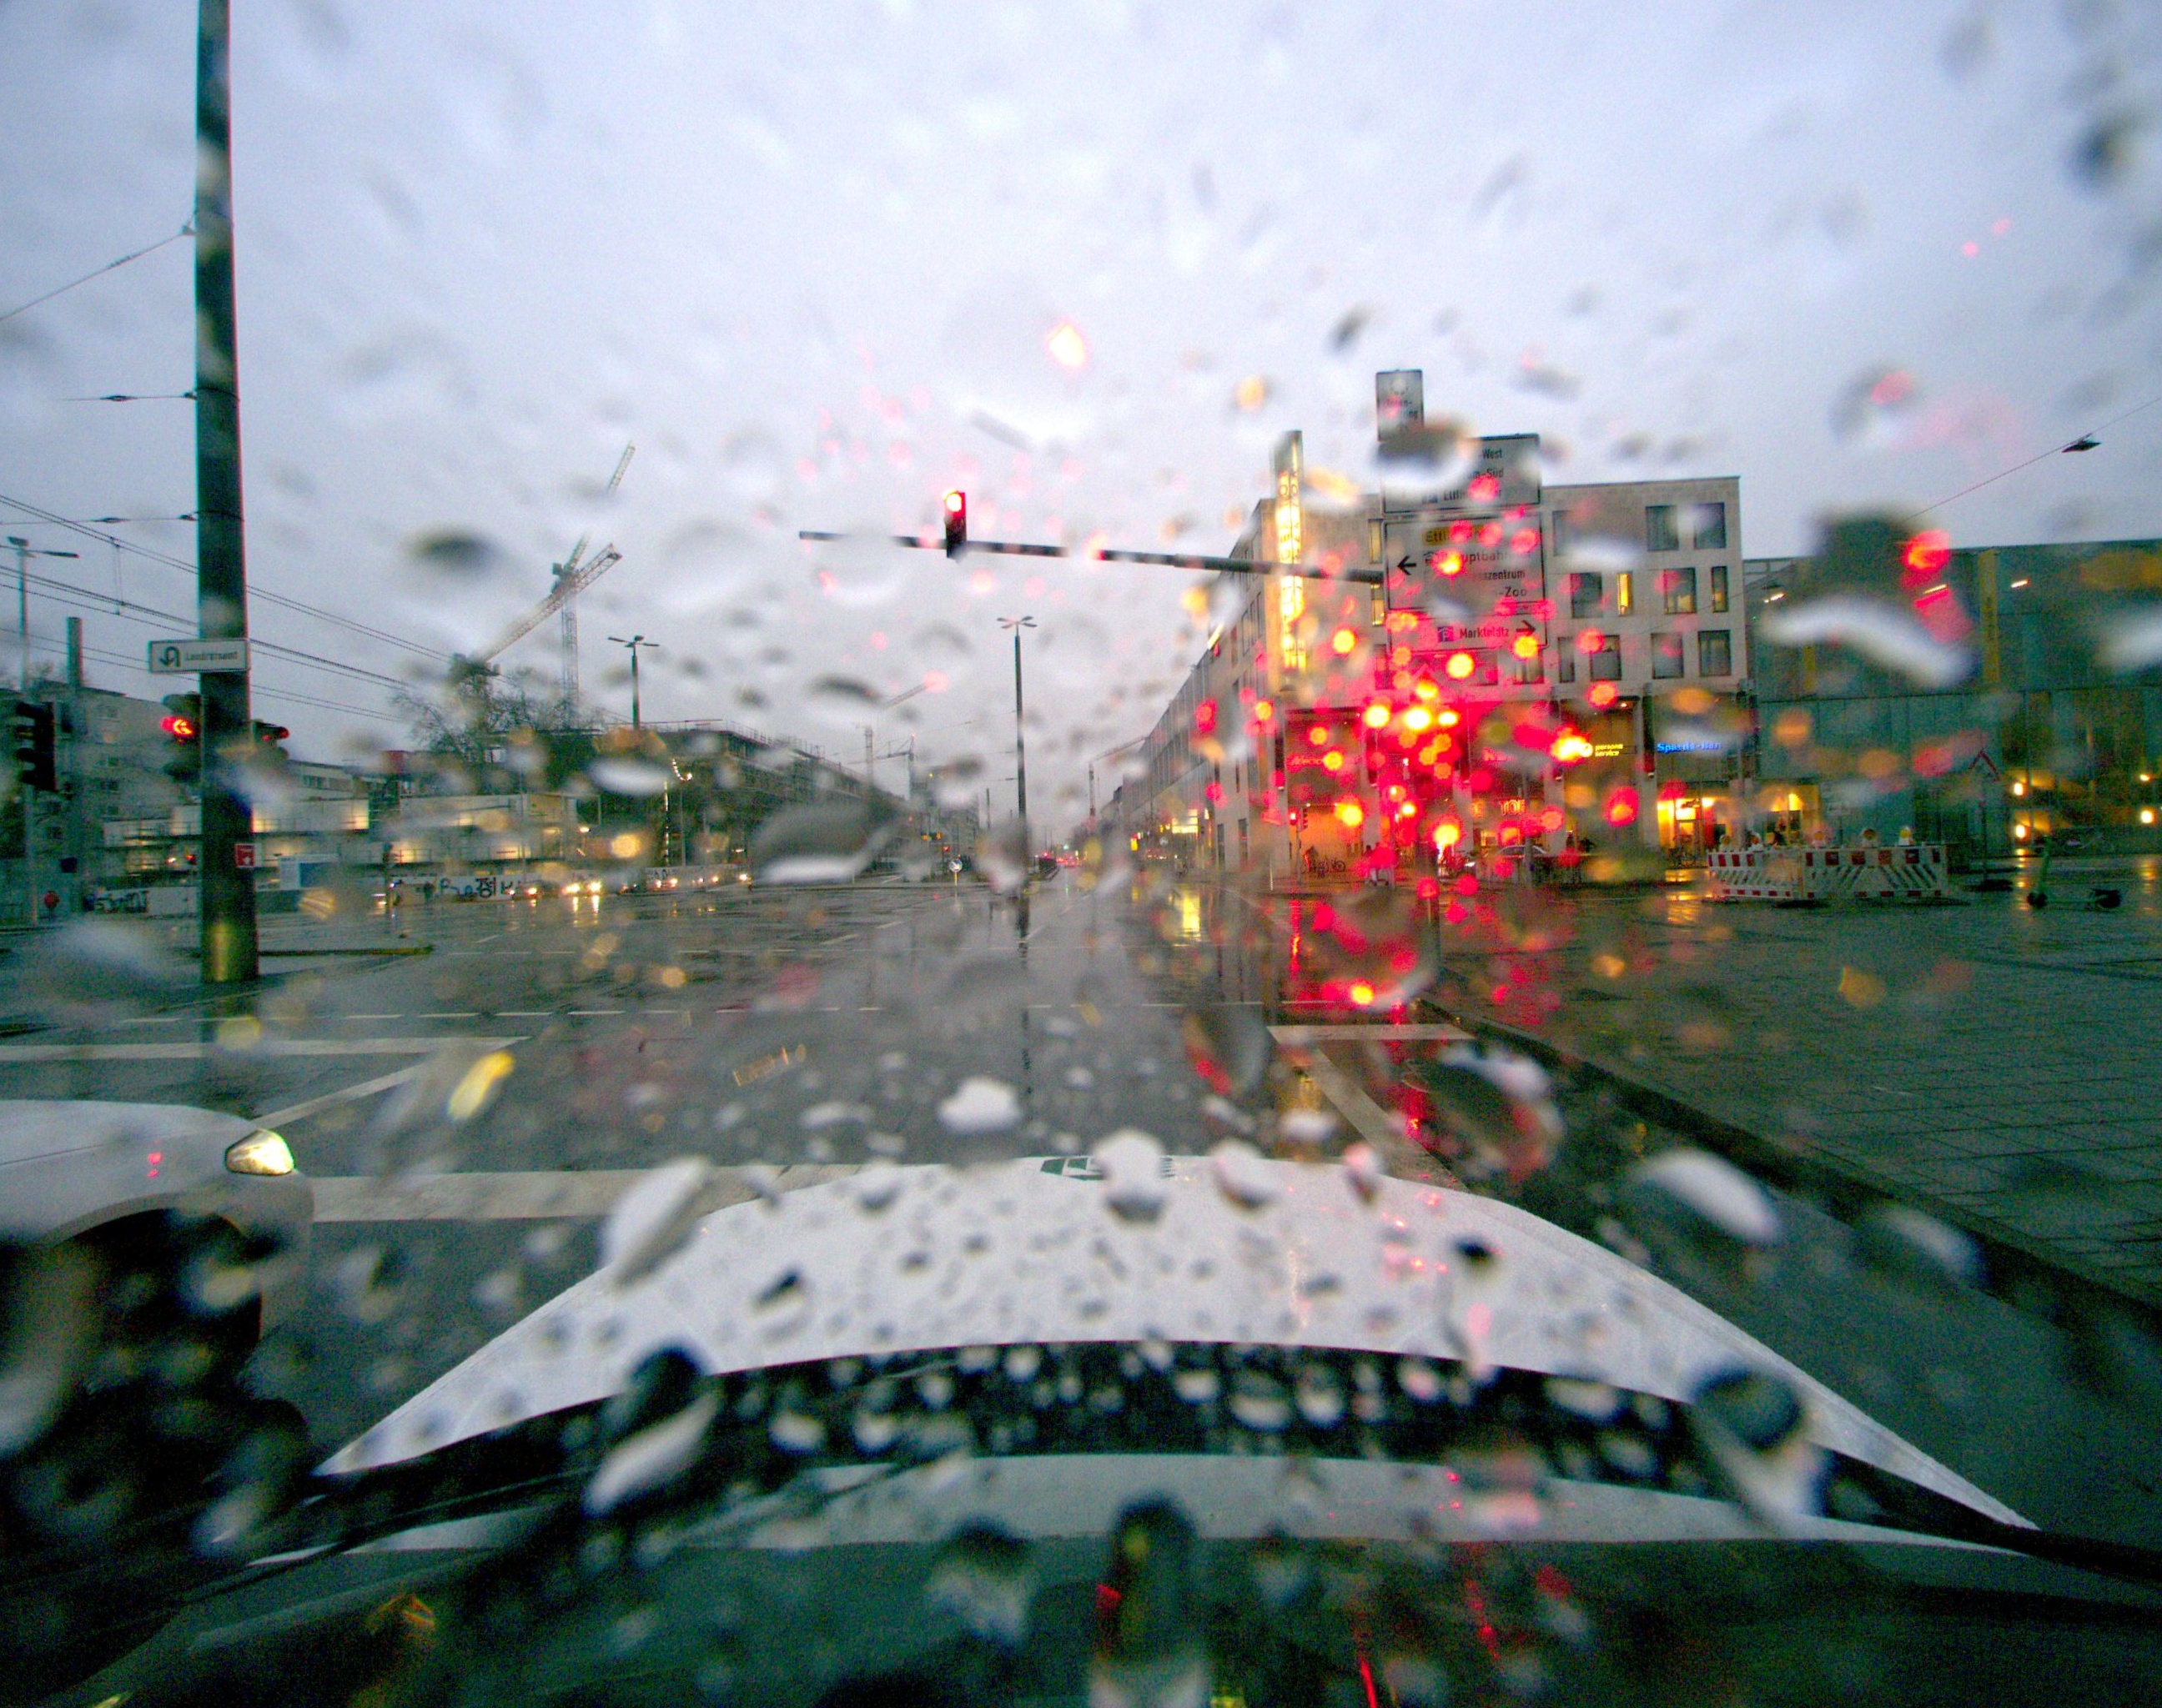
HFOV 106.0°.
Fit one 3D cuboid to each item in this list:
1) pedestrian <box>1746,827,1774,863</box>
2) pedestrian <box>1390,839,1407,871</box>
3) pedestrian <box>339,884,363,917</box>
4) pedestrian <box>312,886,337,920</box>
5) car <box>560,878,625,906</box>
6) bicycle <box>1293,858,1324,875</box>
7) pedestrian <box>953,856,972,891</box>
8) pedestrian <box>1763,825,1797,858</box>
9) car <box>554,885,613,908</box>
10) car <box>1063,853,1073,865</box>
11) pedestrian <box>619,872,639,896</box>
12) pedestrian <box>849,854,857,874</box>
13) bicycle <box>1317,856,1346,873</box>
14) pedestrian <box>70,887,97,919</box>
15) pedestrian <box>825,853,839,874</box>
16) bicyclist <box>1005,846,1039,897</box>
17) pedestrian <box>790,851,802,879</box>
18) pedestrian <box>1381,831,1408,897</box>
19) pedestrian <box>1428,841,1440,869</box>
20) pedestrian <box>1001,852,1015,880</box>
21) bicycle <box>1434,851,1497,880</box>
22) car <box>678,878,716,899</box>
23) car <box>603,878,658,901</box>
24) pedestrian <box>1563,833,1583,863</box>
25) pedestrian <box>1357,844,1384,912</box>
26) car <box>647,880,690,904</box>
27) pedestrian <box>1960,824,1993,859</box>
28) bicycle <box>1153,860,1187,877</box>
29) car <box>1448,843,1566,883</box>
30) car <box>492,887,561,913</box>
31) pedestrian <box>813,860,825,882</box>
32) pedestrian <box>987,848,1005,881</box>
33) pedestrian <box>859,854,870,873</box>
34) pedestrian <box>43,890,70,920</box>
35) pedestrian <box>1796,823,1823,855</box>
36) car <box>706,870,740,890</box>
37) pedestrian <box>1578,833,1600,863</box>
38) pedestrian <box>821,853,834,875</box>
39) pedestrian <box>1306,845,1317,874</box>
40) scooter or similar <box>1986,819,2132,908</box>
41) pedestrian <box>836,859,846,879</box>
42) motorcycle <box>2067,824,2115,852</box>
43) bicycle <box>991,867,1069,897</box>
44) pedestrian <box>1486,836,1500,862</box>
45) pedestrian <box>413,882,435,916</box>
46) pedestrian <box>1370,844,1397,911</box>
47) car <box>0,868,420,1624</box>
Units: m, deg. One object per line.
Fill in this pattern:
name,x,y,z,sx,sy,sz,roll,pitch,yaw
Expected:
pedestrian,32.854,-0.431,39.416,0.737,1.684,0.783,-1,-1,8
pedestrian,20.525,0.041,52.642,0.841,2.013,0.700,-2,0,10
pedestrian,-44.248,2.810,49.353,0.781,2.014,0.748,0,-1,6
pedestrian,-44.961,2.902,48.431,0.861,2.014,0.624,0,-1,-6
car,-33.713,2.591,56.323,1.986,1.657,4.001,-2,0,2
bicycle,13.991,0.768,50.144,1.756,1.070,0.526,-1,-1,9
pedestrian,-6.952,1.133,47.762,0.776,2.014,0.732,-1,-1,44
pedestrian,35.729,-0.621,41.627,1.026,1.684,0.824,0,-1,1
car,-38.949,3.308,63.882,1.986,1.530,4.001,-2,0,2
car,-2.099,0.858,136.384,1.572,2.013,3.170,-2,0,0
pedestrian,-26.355,1.724,47.486,0.721,1.388,0.729,-1,-1,33
pedestrian,-22.863,1.037,81.749,0.569,1.968,0.664,1,-1,-4
bicycle,15.566,0.658,50.599,1.642,1.070,0.524,0,-1,-2
pedestrian,-62.960,3.083,51.420,0.788,1.902,0.717,-2,-1,0
pedestrian,-24.063,0.953,78.719,0.939,2.014,1.094,0,-1,0
bicyclist,-2.221,0.652,30.537,1.157,1.871,0.742,0,-1,-13
pedestrian,-24.293,0.938,69.473,0.762,2.323,0.763,0,-2,1
pedestrian,11.768,0.377,30.566,0.691,2.448,0.792,0,-1,1
pedestrian,20.718,0.056,47.775,0.480,1.663,0.460,-3,-1,32
pedestrian,-4.342,0.709,48.259,0.605,1.686,0.581,-1,-1,44
bicycle,19.256,0.580,40.795,2.705,1.359,0.957,-2,-1,-2
car,-35.255,3.140,74.893,1.992,1.790,3.989,0,-1,-8
car,-34.273,2.649,62.085,2.074,1.530,4.603,-2,0,-8
pedestrian,28.081,-0.339,46.468,0.737,1.684,0.783,-1,-1,8
pedestrian,10.561,0.856,29.684,0.712,2.441,0.758,0,-1,1
car,-34.593,3.141,68.445,1.862,1.828,3.993,0,-1,-5
pedestrian,43.852,-0.621,39.888,0.737,1.684,0.783,-1,-1,8
bicycle,6.717,1.074,61.540,2.434,1.154,0.674,-2,-1,0
car,17.977,0.397,34.549,3.970,1.618,2.001,0,-1,3
car,-38.643,3.200,56.897,1.986,1.530,4.001,-2,0,2
pedestrian,-23.246,1.506,72.274,0.762,1.898,0.763,0,-2,1
pedestrian,-4.888,0.605,46.729,0.826,1.831,0.778,0,-1,-29
pedestrian,-24.277,1.057,91.316,0.939,2.014,1.094,0,-1,0
pedestrian,-63.246,3.138,50.265,0.786,1.776,0.726,-2,-1,8
pedestrian,40.007,-0.816,44.739,0.782,1.739,0.779,-3,-1,17
car,-35.326,2.532,80.455,1.992,1.790,3.989,0,-1,-8
pedestrian,29.378,-0.361,47.103,0.890,1.684,0.528,-2,-1,1
pedestrian,-23.950,0.938,77.005,0.939,2.014,1.094,0,-1,0
pedestrian,14.029,0.326,49.585,0.596,1.745,0.526,-1,-1,10
scooter or similar,15.688,0.140,13.122,0.590,1.352,1.495,0,0,2
pedestrian,-22.294,1.408,75.621,0.696,1.881,0.553,0,-1,1
motorcycle,48.272,-0.758,38.931,1.482,1.352,0.595,0,0,5
bicycle,-1.924,1.039,30.594,2.859,1.099,0.742,0,-1,-13
pedestrian,28.050,-0.345,55.450,0.728,1.718,0.743,-3,-1,29
pedestrian,-43.104,2.963,53.428,0.872,2.165,0.763,0,-1,-7
pedestrian,11.203,0.855,30.194,0.687,2.441,0.758,0,-1,1
car,-3.200,0.815,0.343,2.010,1.487,4.561,-2,0,1
